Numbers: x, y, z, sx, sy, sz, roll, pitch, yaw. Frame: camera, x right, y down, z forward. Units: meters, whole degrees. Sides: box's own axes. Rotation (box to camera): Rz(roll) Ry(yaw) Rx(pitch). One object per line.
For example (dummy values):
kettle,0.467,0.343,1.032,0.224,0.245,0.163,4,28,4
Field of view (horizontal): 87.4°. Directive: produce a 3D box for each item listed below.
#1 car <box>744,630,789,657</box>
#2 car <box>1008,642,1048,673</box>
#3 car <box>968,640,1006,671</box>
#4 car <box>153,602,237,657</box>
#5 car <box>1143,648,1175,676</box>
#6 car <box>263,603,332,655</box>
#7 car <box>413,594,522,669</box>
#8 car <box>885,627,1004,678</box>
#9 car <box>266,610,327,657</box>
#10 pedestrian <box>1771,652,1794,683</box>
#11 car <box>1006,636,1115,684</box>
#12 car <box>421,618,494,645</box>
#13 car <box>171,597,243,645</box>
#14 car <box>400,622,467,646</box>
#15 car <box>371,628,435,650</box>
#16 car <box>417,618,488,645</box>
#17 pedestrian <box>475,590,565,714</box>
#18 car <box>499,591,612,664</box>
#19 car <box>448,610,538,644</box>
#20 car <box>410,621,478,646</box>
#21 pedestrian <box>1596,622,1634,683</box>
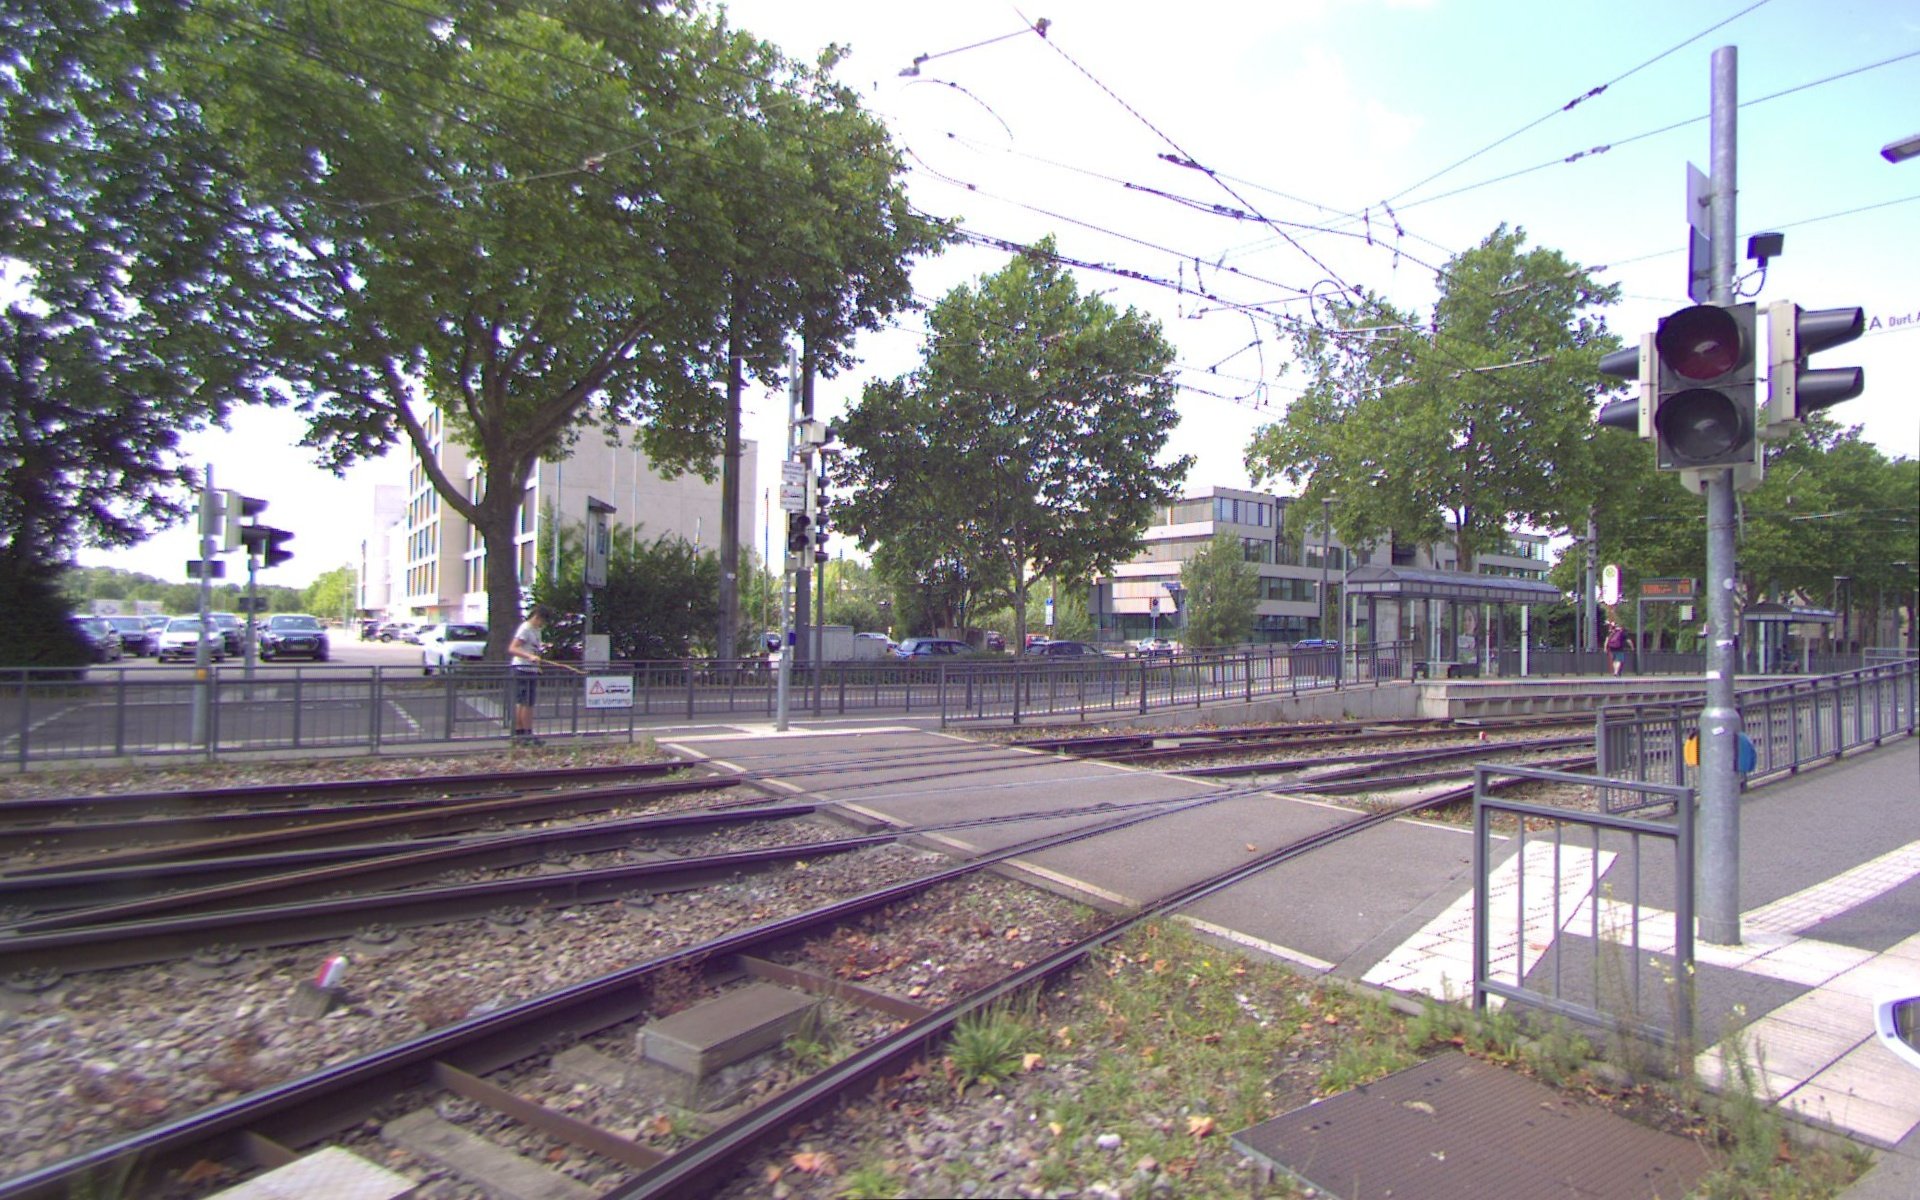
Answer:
car,-14.203,3.168,73.679,1.743,1.837,4.008,6,-5,-34
car,4.794,4.157,71.548,1.963,2.039,4.436,3,-4,-7
car,1.876,3.977,71.046,1.963,2.039,4.436,3,-4,-7
car,-24.873,0.928,32.770,1.760,1.446,3.963,6,-1,-33
car,15.294,4.751,77.458,1.960,2.039,4.003,2,-3,5
car,-22.543,0.950,34.240,1.760,1.446,3.963,6,-1,-33
car,-13.095,0.832,26.604,1.788,1.772,3.958,5,-4,-37
car,-0.505,1.775,33.924,3.613,1.554,1.682,4,-3,-32
car,-25.355,1.240,38.424,1.760,1.446,3.963,6,-1,-33
pedestrian,35.944,2.946,43.893,0.760,1.286,0.549,5,-3,-33
car,3.657,2.161,36.315,3.613,1.554,1.682,4,-3,-32
car,-33.492,2.102,67.016,4.068,1.502,1.867,6,-5,-35
car,-27.911,0.744,37.343,1.760,1.446,3.963,6,-1,-33
car,-38.881,2.544,74.180,4.068,1.502,1.867,6,-5,-35
car,-43.354,3.049,78.215,4.068,1.502,1.867,6,-5,-35
car,-34.733,2.182,68.812,4.068,1.502,1.867,6,-5,-35
pedestrian,-5.182,0.621,11.848,0.853,1.360,0.917,5,-5,-24
car,-11.094,0.747,27.428,1.788,1.772,3.958,5,-4,-37
car,-25.082,1.492,54.011,4.068,1.502,1.867,6,-5,-35
car,-36.954,2.427,71.929,4.068,1.502,1.867,6,-5,-35
pedestrian,20.502,1.645,31.424,0.856,1.869,0.701,4,-3,-36
